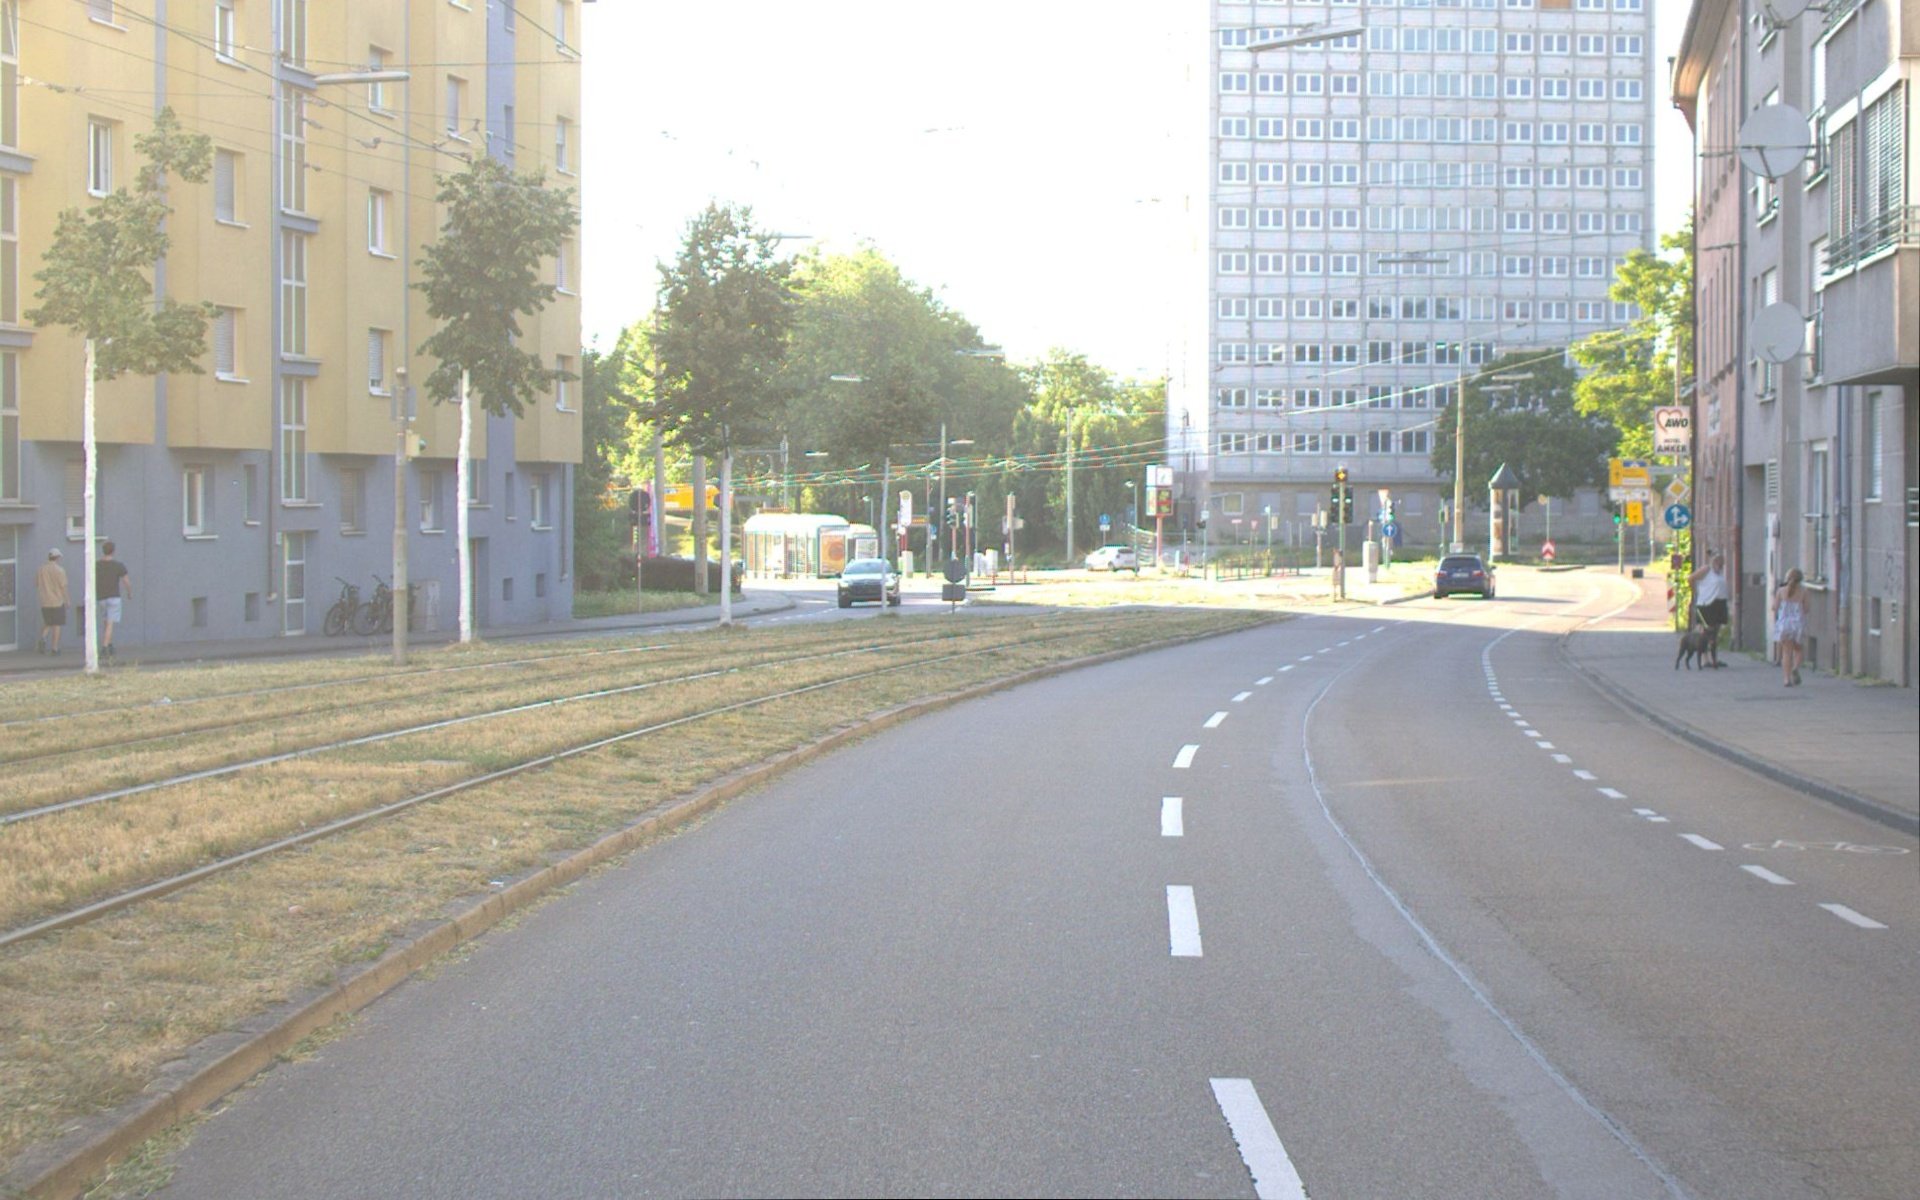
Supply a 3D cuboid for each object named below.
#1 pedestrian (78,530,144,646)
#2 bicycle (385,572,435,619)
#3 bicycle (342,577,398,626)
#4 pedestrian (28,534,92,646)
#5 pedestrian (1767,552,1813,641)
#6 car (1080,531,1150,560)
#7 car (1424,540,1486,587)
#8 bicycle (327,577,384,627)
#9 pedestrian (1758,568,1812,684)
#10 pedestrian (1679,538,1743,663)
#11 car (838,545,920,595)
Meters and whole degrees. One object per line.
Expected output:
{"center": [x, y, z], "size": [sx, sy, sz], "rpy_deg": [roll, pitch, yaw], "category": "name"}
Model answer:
{"center": [-13.312, -0.193, 53.933], "size": [0.593, 1.767, 0.885], "rpy_deg": [5, 2, 8], "category": "pedestrian"}
{"center": [-11.404, -0.100, 71.317], "size": [0.427, 0.956, 1.911], "rpy_deg": [0, 1, 10], "category": "bicycle"}
{"center": [-11.817, 0.015, 68.901], "size": [0.427, 0.922, 1.911], "rpy_deg": [4, 2, 10], "category": "bicycle"}
{"center": [-14.065, -0.167, 53.730], "size": [0.616, 1.688, 0.706], "rpy_deg": [5, 2, 8], "category": "pedestrian"}
{"center": [11.824, -0.049, 49.000], "size": [0.587, 1.247, 0.584], "rpy_deg": [0, 1, 9], "category": "pedestrian"}
{"center": [8.562, -3.024, 190.289], "size": [1.993, 1.525, 4.000], "rpy_deg": [-1, 1, -32], "category": "car"}
{"center": [15.783, -1.181, 109.517], "size": [1.773, 1.417, 3.854], "rpy_deg": [0, 1, 11], "category": "car"}
{"center": [-11.882, 0.039, 67.622], "size": [0.427, 0.922, 1.911], "rpy_deg": [4, 2, 10], "category": "bicycle"}
{"center": [9.639, 0.301, 40.165], "size": [0.514, 1.340, 0.609], "rpy_deg": [-1, 0, 5], "category": "pedestrian"}
{"center": [10.731, 0.004, 49.162], "size": [0.830, 1.765, 0.995], "rpy_deg": [0, 1, 9], "category": "pedestrian"}
{"center": [-2.508, -0.934, 107.595], "size": [1.794, 1.464, 4.794], "rpy_deg": [-2, 0, 8], "category": "car"}
